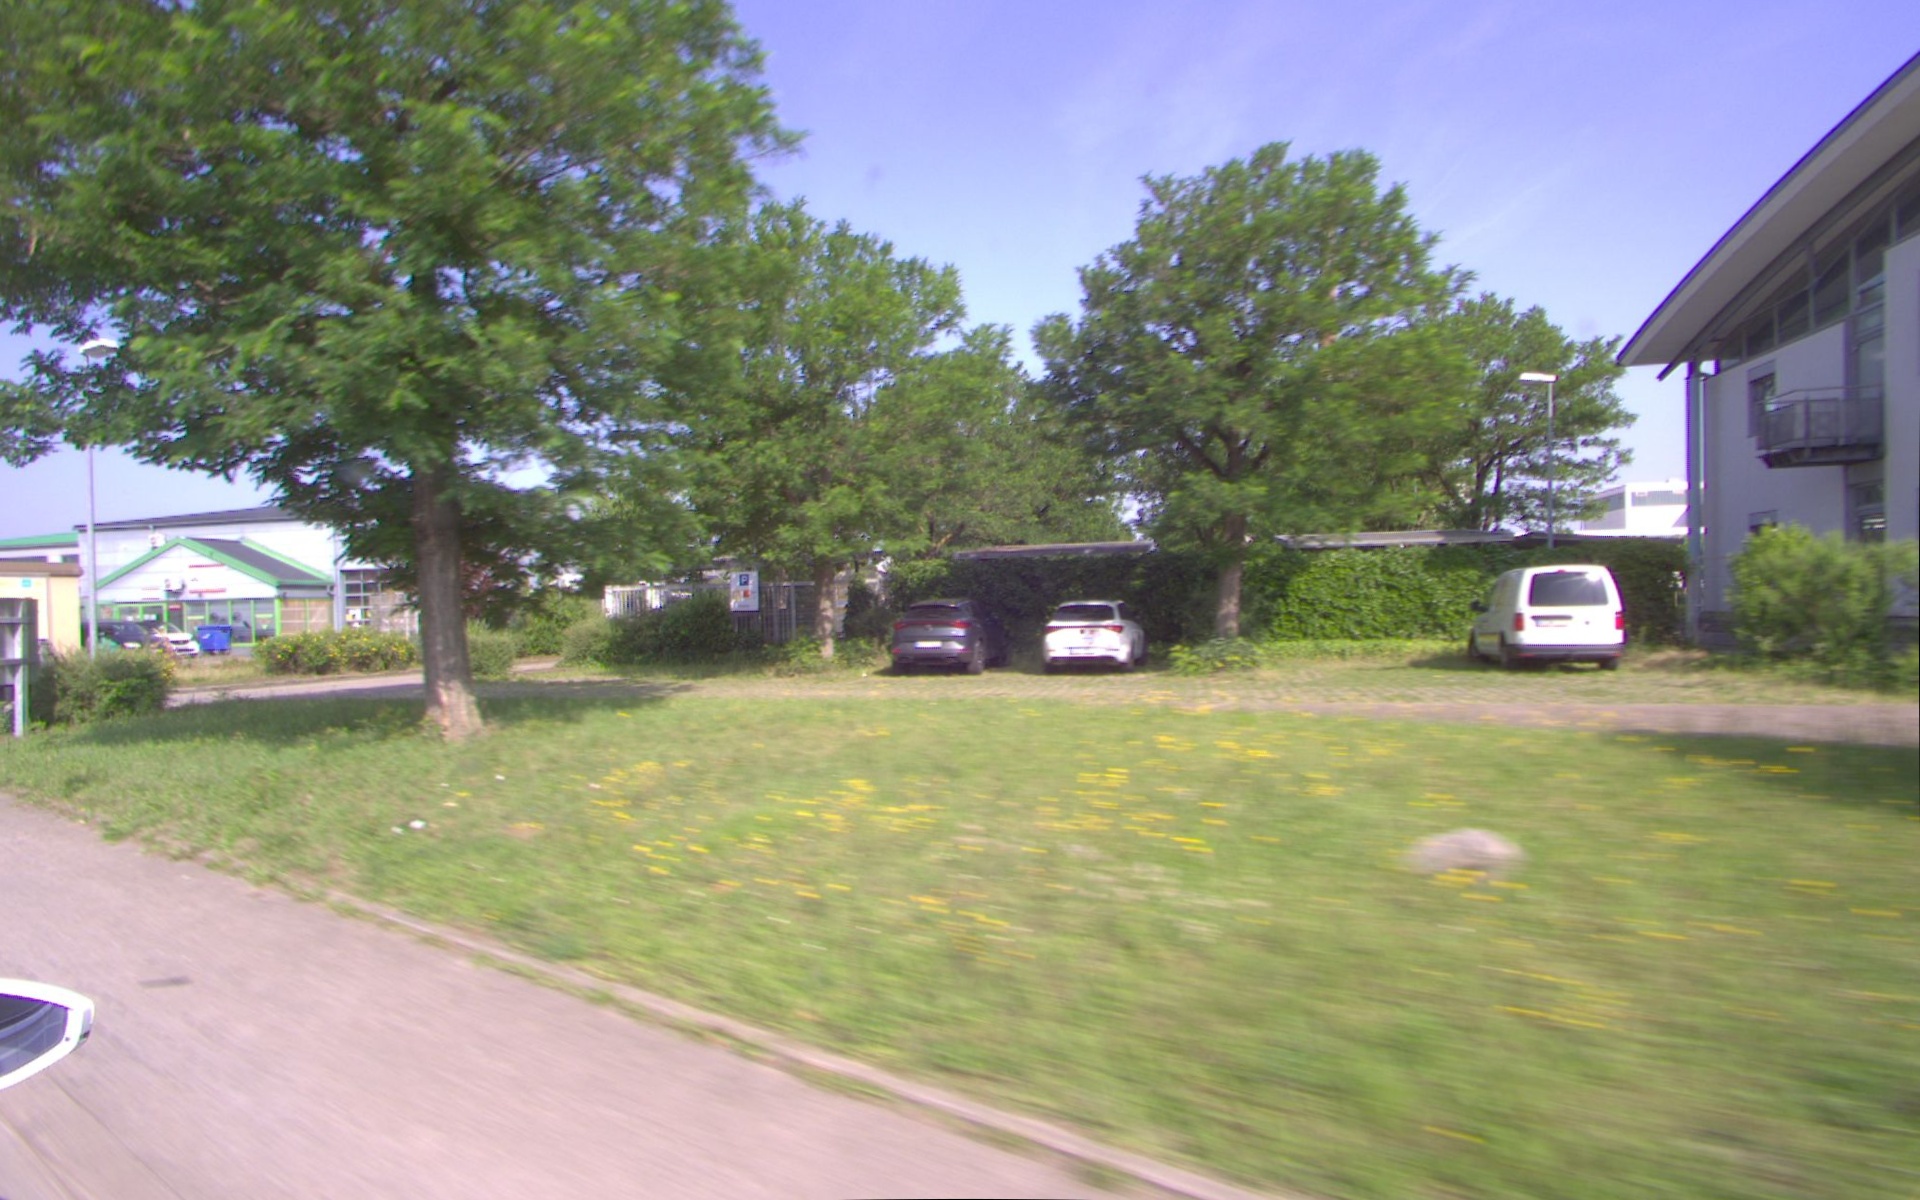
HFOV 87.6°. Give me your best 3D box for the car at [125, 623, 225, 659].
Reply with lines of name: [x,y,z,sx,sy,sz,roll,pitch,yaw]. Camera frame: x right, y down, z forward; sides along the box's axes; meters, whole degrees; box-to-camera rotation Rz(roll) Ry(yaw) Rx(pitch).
car: [-31.991,1.672,40.813,3.129,1.363,1.583,-1,1,14]

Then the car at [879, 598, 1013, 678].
car: [-0.180,0.727,21.055,1.767,1.483,4.036,-1,0,15]

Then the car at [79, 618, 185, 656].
car: [-31.846,1.420,38.542,3.129,1.363,1.583,-1,1,14]

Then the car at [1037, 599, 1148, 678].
car: [2.804,0.714,20.451,1.710,1.424,4.036,-1,0,15]

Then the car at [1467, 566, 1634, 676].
car: [10.559,0.360,18.213,1.721,1.773,3.907,-1,0,17]

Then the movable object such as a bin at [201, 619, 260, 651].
movable object such as a bin: [-31.739,1.523,43.560,1.971,1.363,0.998,-1,1,14]
